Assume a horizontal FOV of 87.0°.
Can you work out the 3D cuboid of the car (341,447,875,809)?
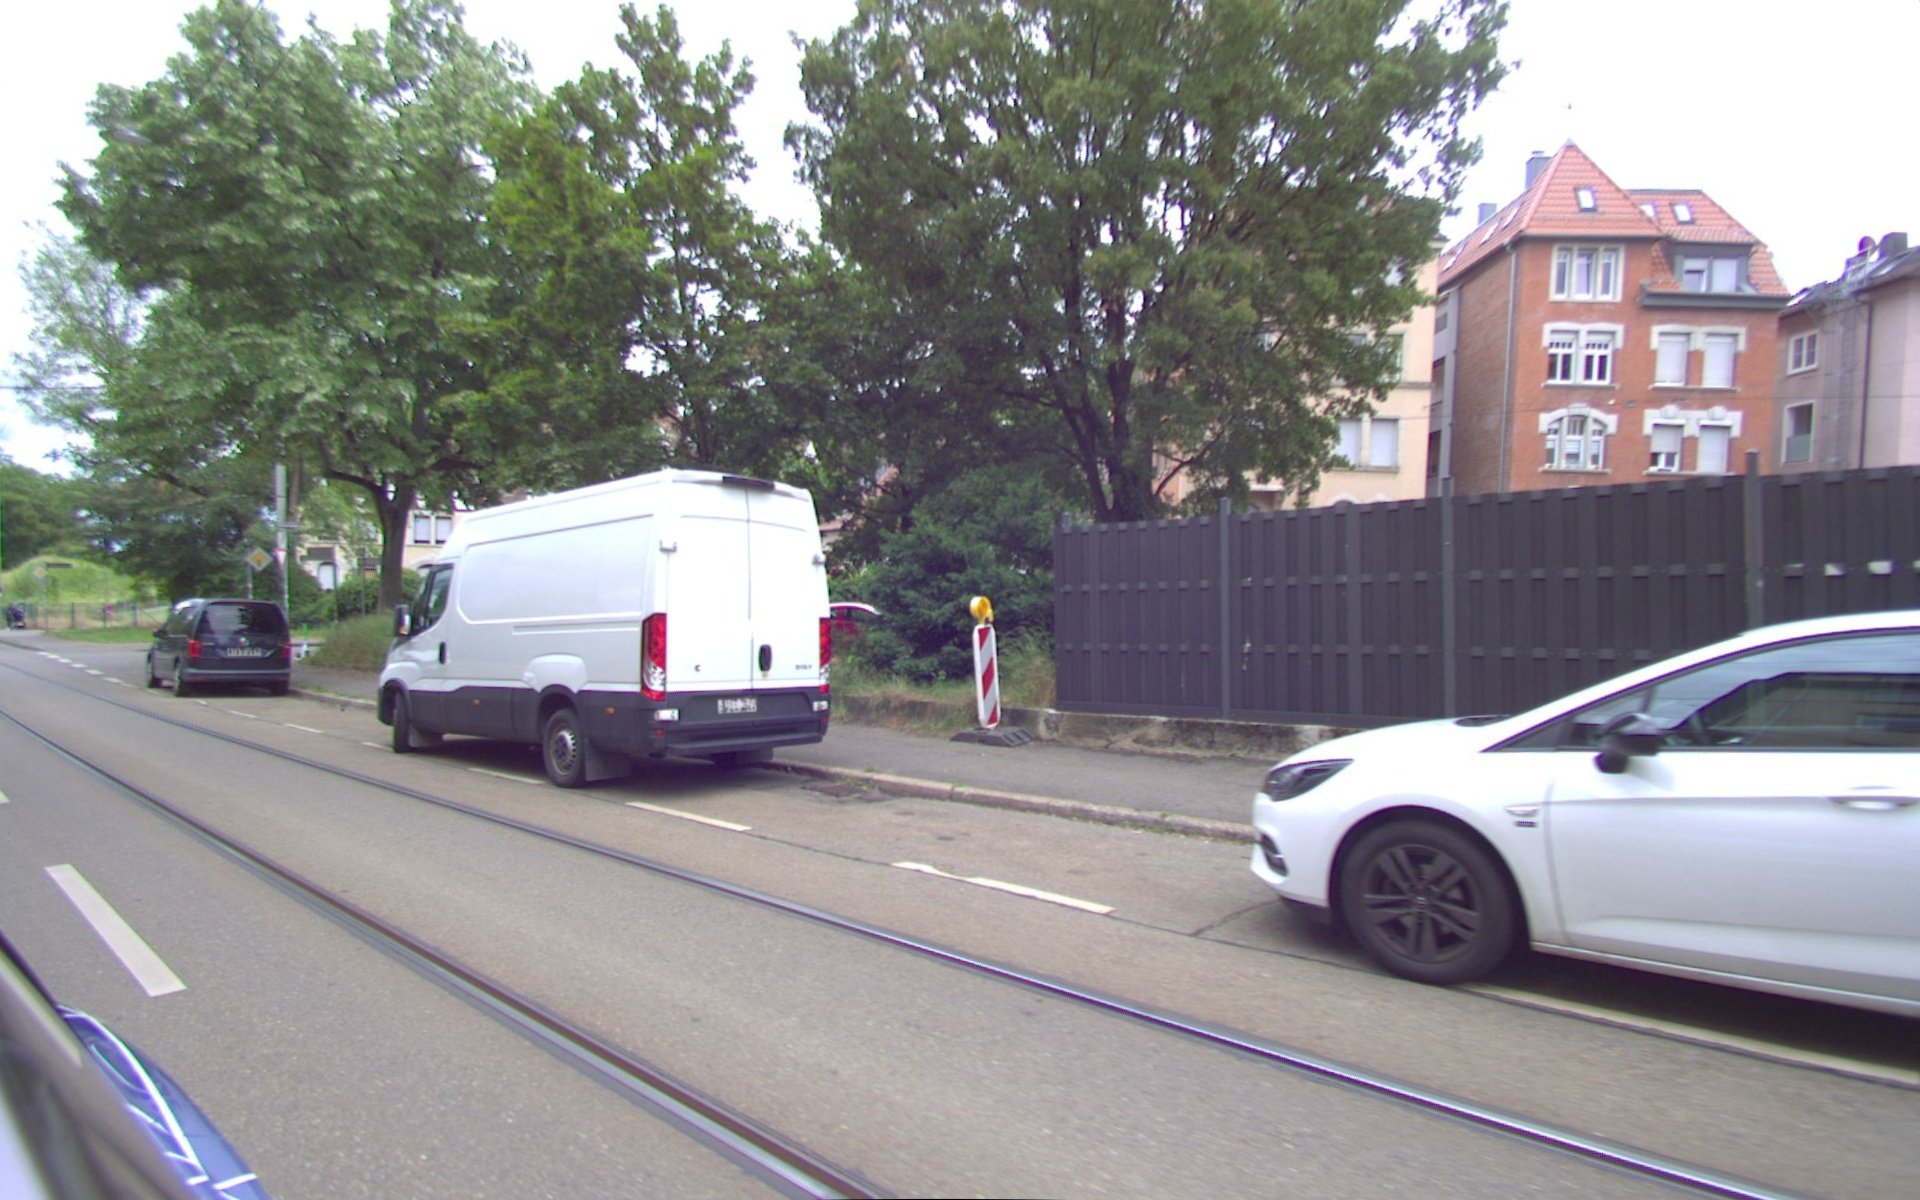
[{"bbox_3d":[-3.831,0.294,10.166,6.214,2.627,2.136,-1,-3,40],"label":"car"}]

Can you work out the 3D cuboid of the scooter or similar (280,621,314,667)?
[{"bbox_3d":[-17.484,1.167,26.677,1.717,1.154,0.308,-3,-1,42],"label":"scooter or similar"}]

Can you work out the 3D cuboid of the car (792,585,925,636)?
[{"bbox_3d":[-3.007,0.301,30.337,3.688,1.426,1.648,-1,1,9],"label":"car"}]

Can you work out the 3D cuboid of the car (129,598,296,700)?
[{"bbox_3d":[-14.847,0.927,20.003,4.668,1.789,1.743,-1,-4,43],"label":"car"}]

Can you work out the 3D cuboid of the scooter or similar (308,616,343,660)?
[{"bbox_3d":[-17.215,1.032,27.427,1.717,1.154,0.308,-3,-1,42],"label":"scooter or similar"}]

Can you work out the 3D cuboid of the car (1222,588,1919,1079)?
[{"bbox_3d":[3.305,0.710,3.605,4.311,1.413,1.700,-1,-3,42],"label":"car"}]
